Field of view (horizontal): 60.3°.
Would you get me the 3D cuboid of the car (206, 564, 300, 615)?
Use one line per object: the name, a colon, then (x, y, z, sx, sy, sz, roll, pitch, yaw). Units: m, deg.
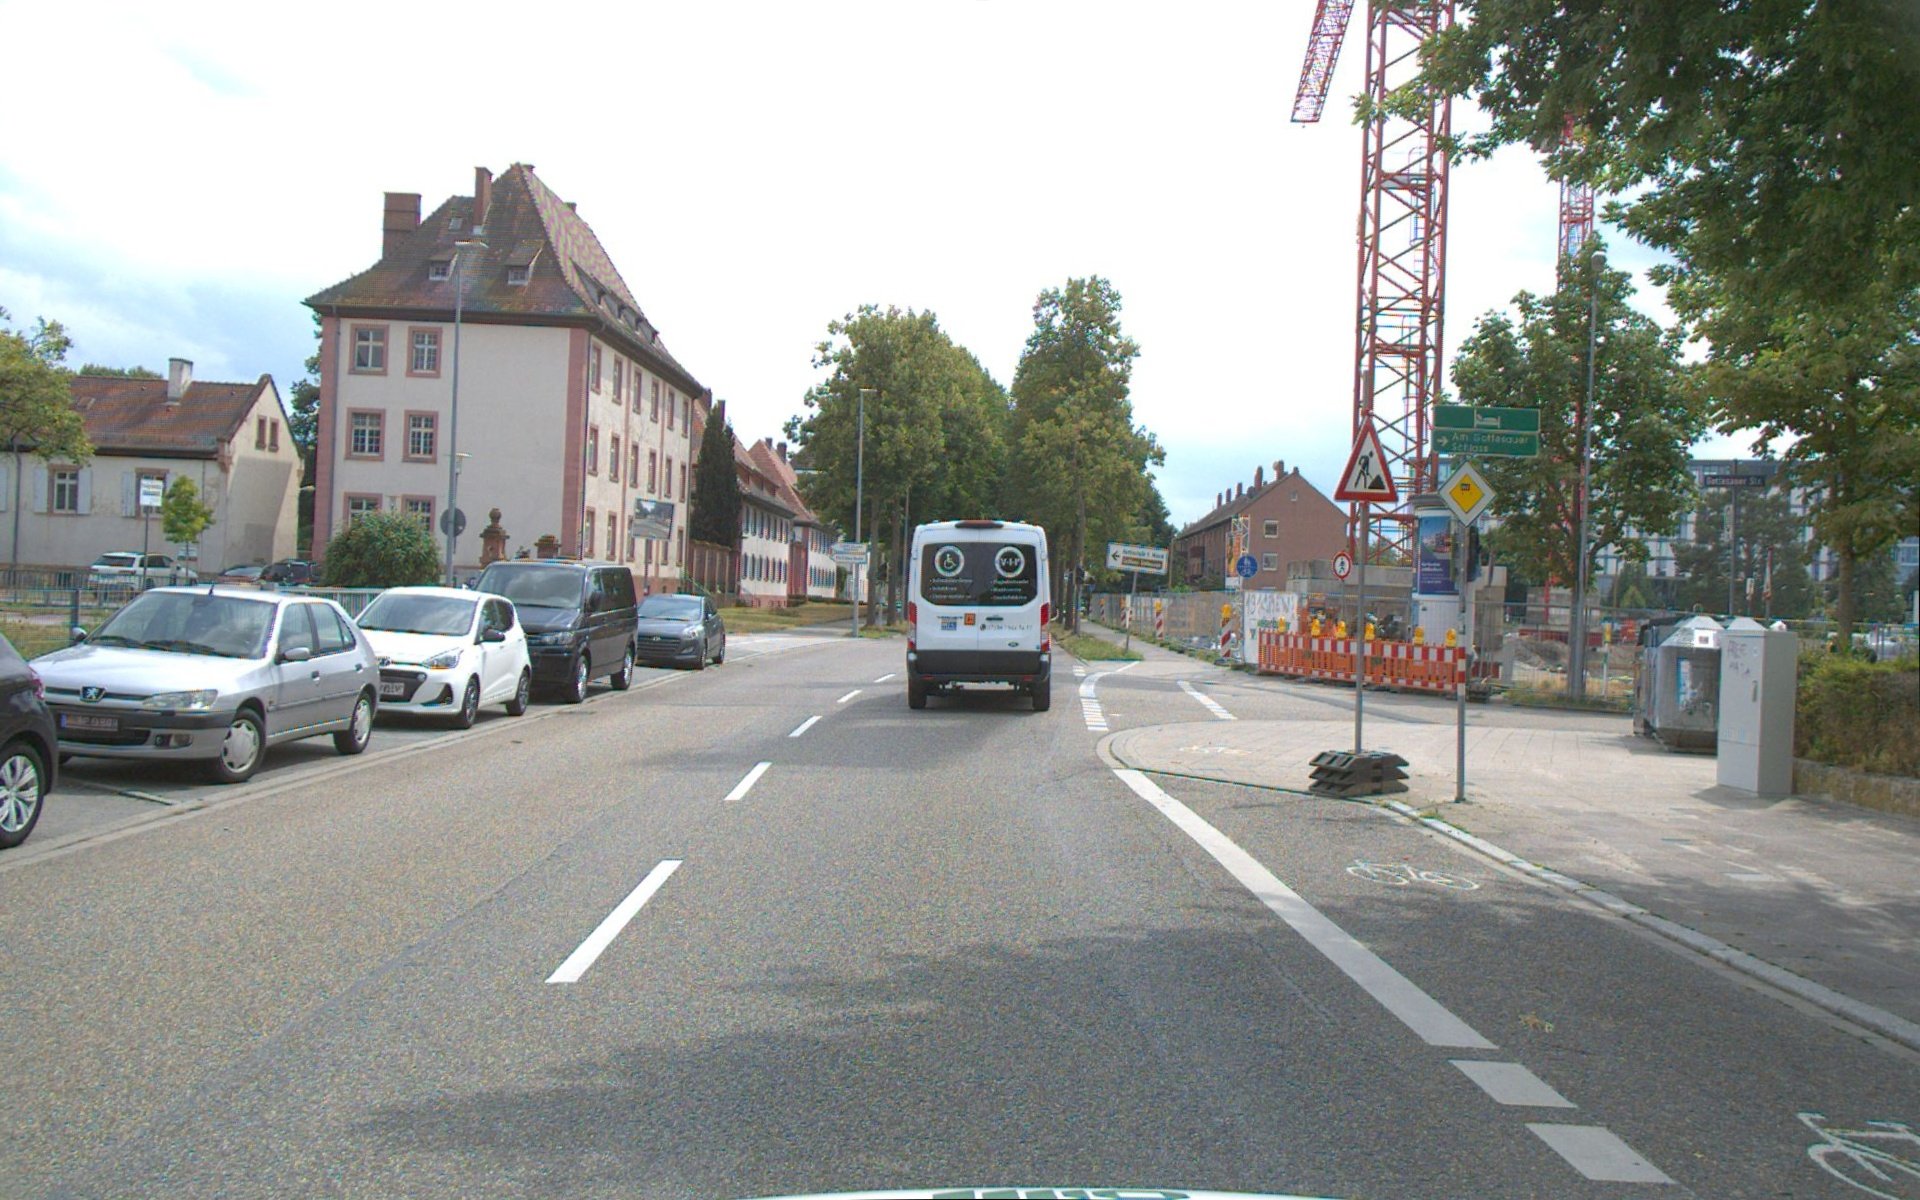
car: (-26.304, -0.430, 61.669, 1.730, 1.740, 3.698, 2, 2, 3)

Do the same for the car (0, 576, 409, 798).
car: (-6.088, 0.595, 13.619, 1.653, 1.482, 4.263, 2, 0, -1)

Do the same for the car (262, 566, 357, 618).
car: (-23.959, -0.331, 61.045, 1.730, 1.740, 3.960, 2, 2, 3)

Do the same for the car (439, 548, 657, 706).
car: (-6.067, 0.359, 25.021, 1.909, 2.039, 4.844, 3, 0, 1)

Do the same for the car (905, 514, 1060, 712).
car: (0.259, 0.188, 23.760, 2.021, 2.584, 3.999, 1, -1, -1)

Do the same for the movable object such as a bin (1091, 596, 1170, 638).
movable object such as a bin: (11.108, 1.104, 107.400, 4.583, 2.635, 3.134, 0, -1, 16)

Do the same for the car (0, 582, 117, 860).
car: (-6.042, 0.623, 8.056, 1.652, 1.496, 4.049, 3, 0, 1)

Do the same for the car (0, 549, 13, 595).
car: (-37.717, -1.065, 62.354, 1.730, 1.740, 3.698, 2, 2, 3)

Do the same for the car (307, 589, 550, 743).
car: (-6.157, 0.703, 19.596, 1.620, 1.556, 3.764, 3, 0, -1)

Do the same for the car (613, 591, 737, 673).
car: (-5.978, 0.631, 35.148, 1.785, 1.498, 4.297, 4, 0, 0)

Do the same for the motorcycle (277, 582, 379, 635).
motorcycle: (-14.283, 0.200, 37.397, 2.046, 1.162, 0.725, 0, -1, 6)

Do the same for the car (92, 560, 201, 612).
car: (-30.260, -0.558, 61.643, 1.730, 1.740, 4.293, 2, 2, 3)
